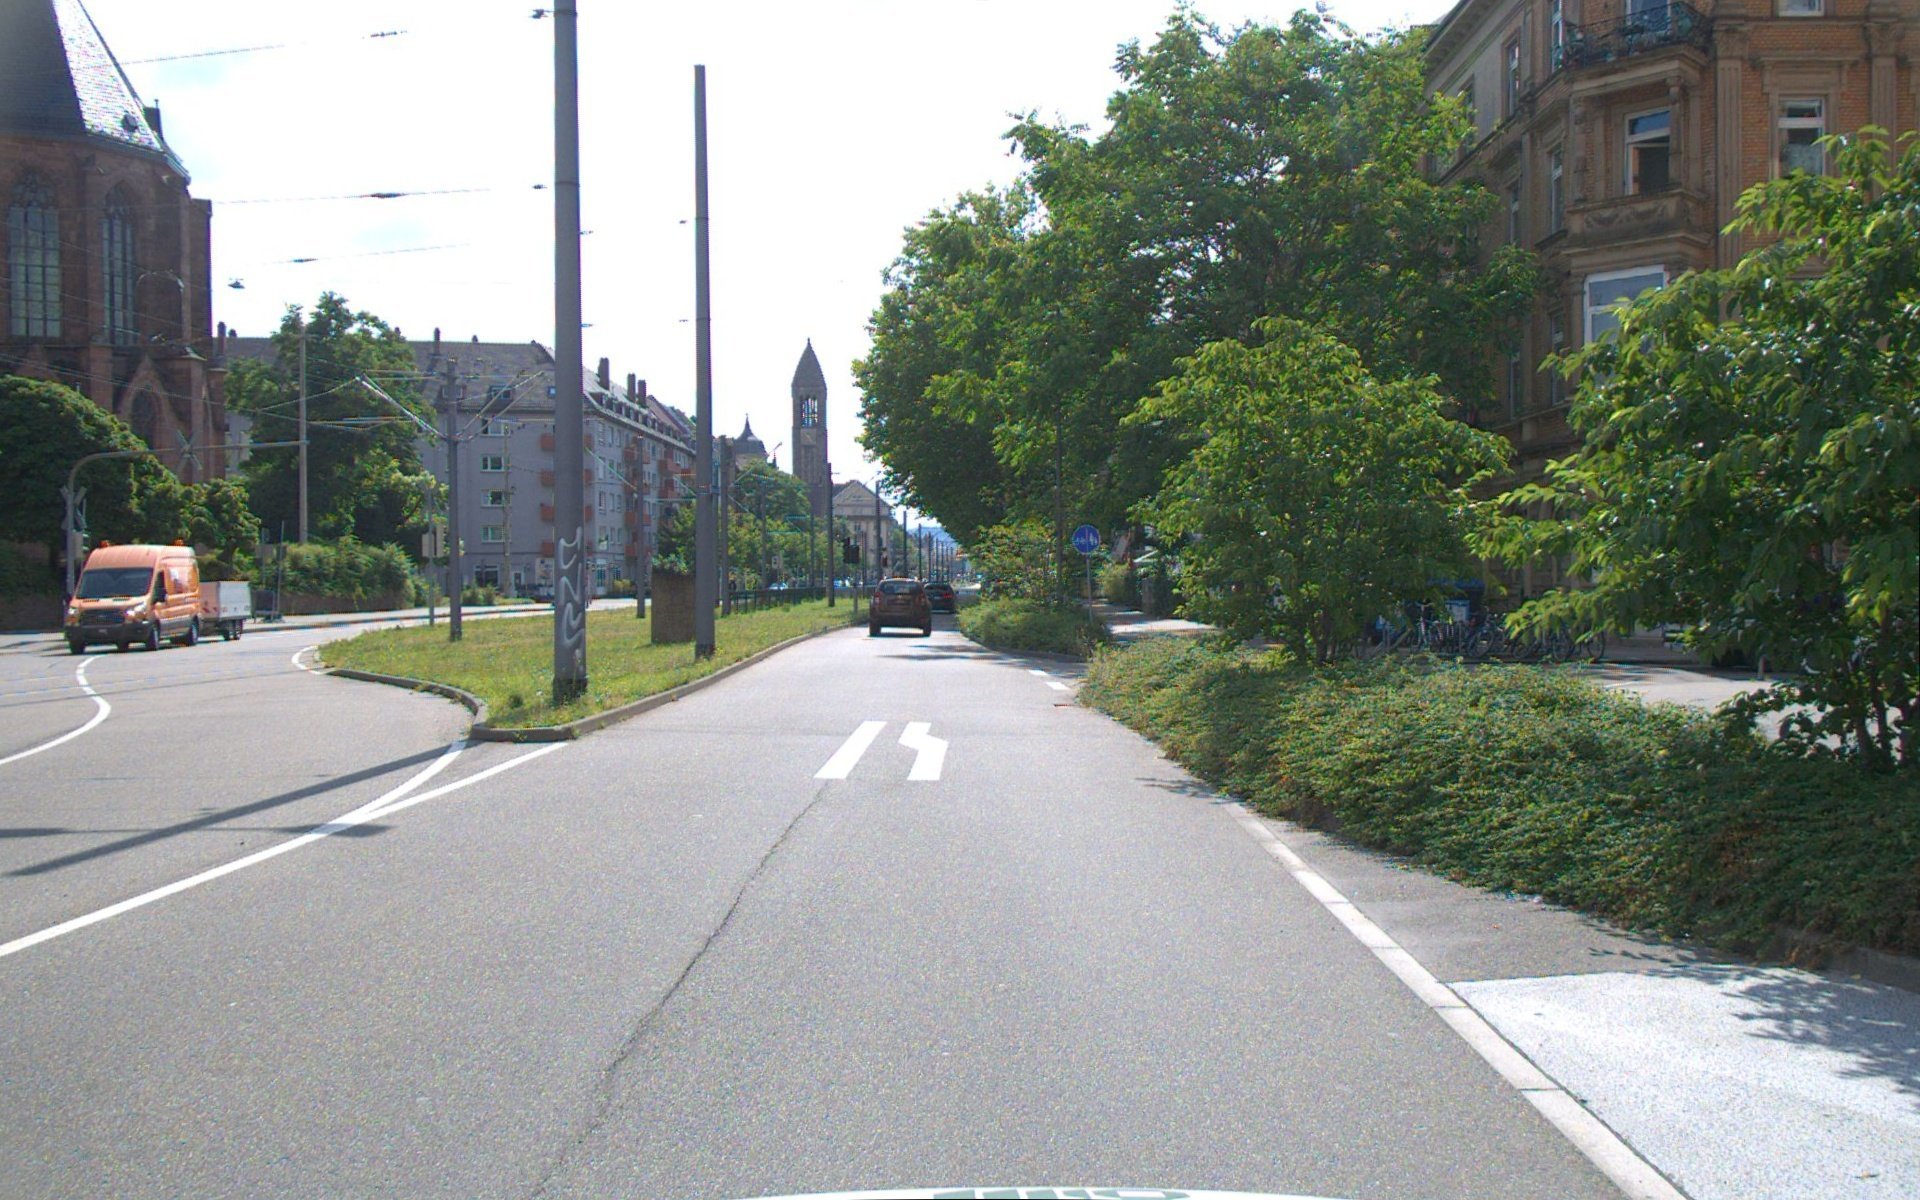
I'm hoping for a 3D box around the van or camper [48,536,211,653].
[{"bbox_3d":[-21.489,-0.174,43.121,2.216,2.785,6.185,-1,1,-12],"label":"van or camper"}]

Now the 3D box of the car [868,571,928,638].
[{"bbox_3d":[-1.782,0.095,48.436,1.654,1.740,3.609,-1,3,-1],"label":"car"}]

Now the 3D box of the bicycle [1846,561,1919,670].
[{"bbox_3d":[11.733,0.178,20.020,1.732,1.290,0.467,0,3,4],"label":"bicycle"}]

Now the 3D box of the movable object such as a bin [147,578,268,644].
[{"bbox_3d":[-22.475,0.291,49.588,2.164,1.723,3.714,-1,3,-6],"label":"movable object such as a bin"}]

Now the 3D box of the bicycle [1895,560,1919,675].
[{"bbox_3d":[11.759,0.190,19.000,1.732,1.290,0.467,0,3,4],"label":"bicycle"}]

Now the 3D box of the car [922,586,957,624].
[{"bbox_3d":[-0.993,0.229,80.382,1.654,1.601,3.609,-1,3,-1],"label":"car"}]

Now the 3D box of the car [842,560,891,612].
[{"bbox_3d":[-3.884,-0.605,69.200,1.953,2.049,3.999,-1,1,-2],"label":"car"}]
